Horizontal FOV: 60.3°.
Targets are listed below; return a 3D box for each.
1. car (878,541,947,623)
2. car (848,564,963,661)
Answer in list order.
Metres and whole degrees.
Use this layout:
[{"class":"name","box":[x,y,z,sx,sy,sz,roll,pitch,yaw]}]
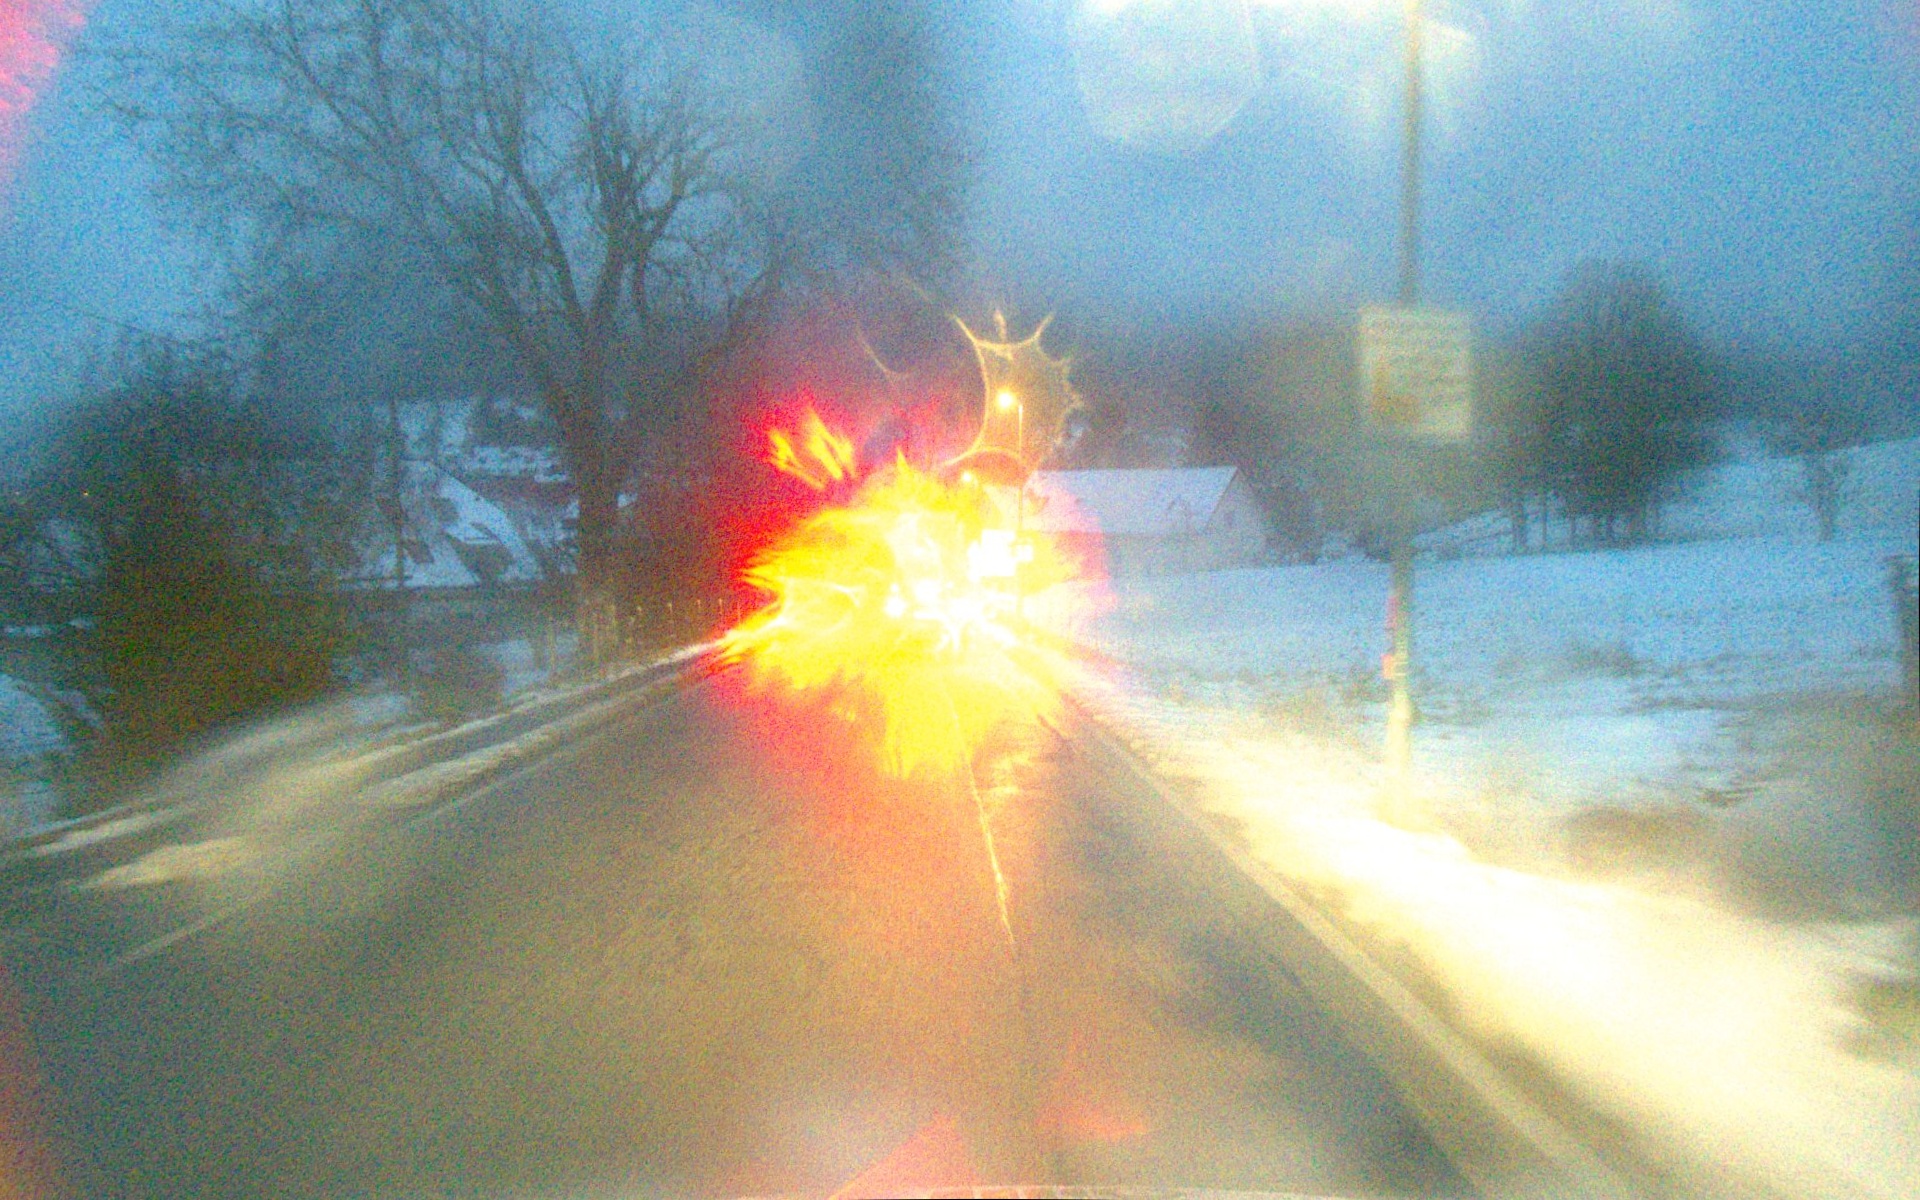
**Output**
[{"class":"car","box":[-1.850,-0.669,66.389,2.385,3.072,5.325,-1,-1,2]},{"class":"car","box":[-1.135,0.241,34.466,2.228,1.873,5.005,0,0,-2]}]
